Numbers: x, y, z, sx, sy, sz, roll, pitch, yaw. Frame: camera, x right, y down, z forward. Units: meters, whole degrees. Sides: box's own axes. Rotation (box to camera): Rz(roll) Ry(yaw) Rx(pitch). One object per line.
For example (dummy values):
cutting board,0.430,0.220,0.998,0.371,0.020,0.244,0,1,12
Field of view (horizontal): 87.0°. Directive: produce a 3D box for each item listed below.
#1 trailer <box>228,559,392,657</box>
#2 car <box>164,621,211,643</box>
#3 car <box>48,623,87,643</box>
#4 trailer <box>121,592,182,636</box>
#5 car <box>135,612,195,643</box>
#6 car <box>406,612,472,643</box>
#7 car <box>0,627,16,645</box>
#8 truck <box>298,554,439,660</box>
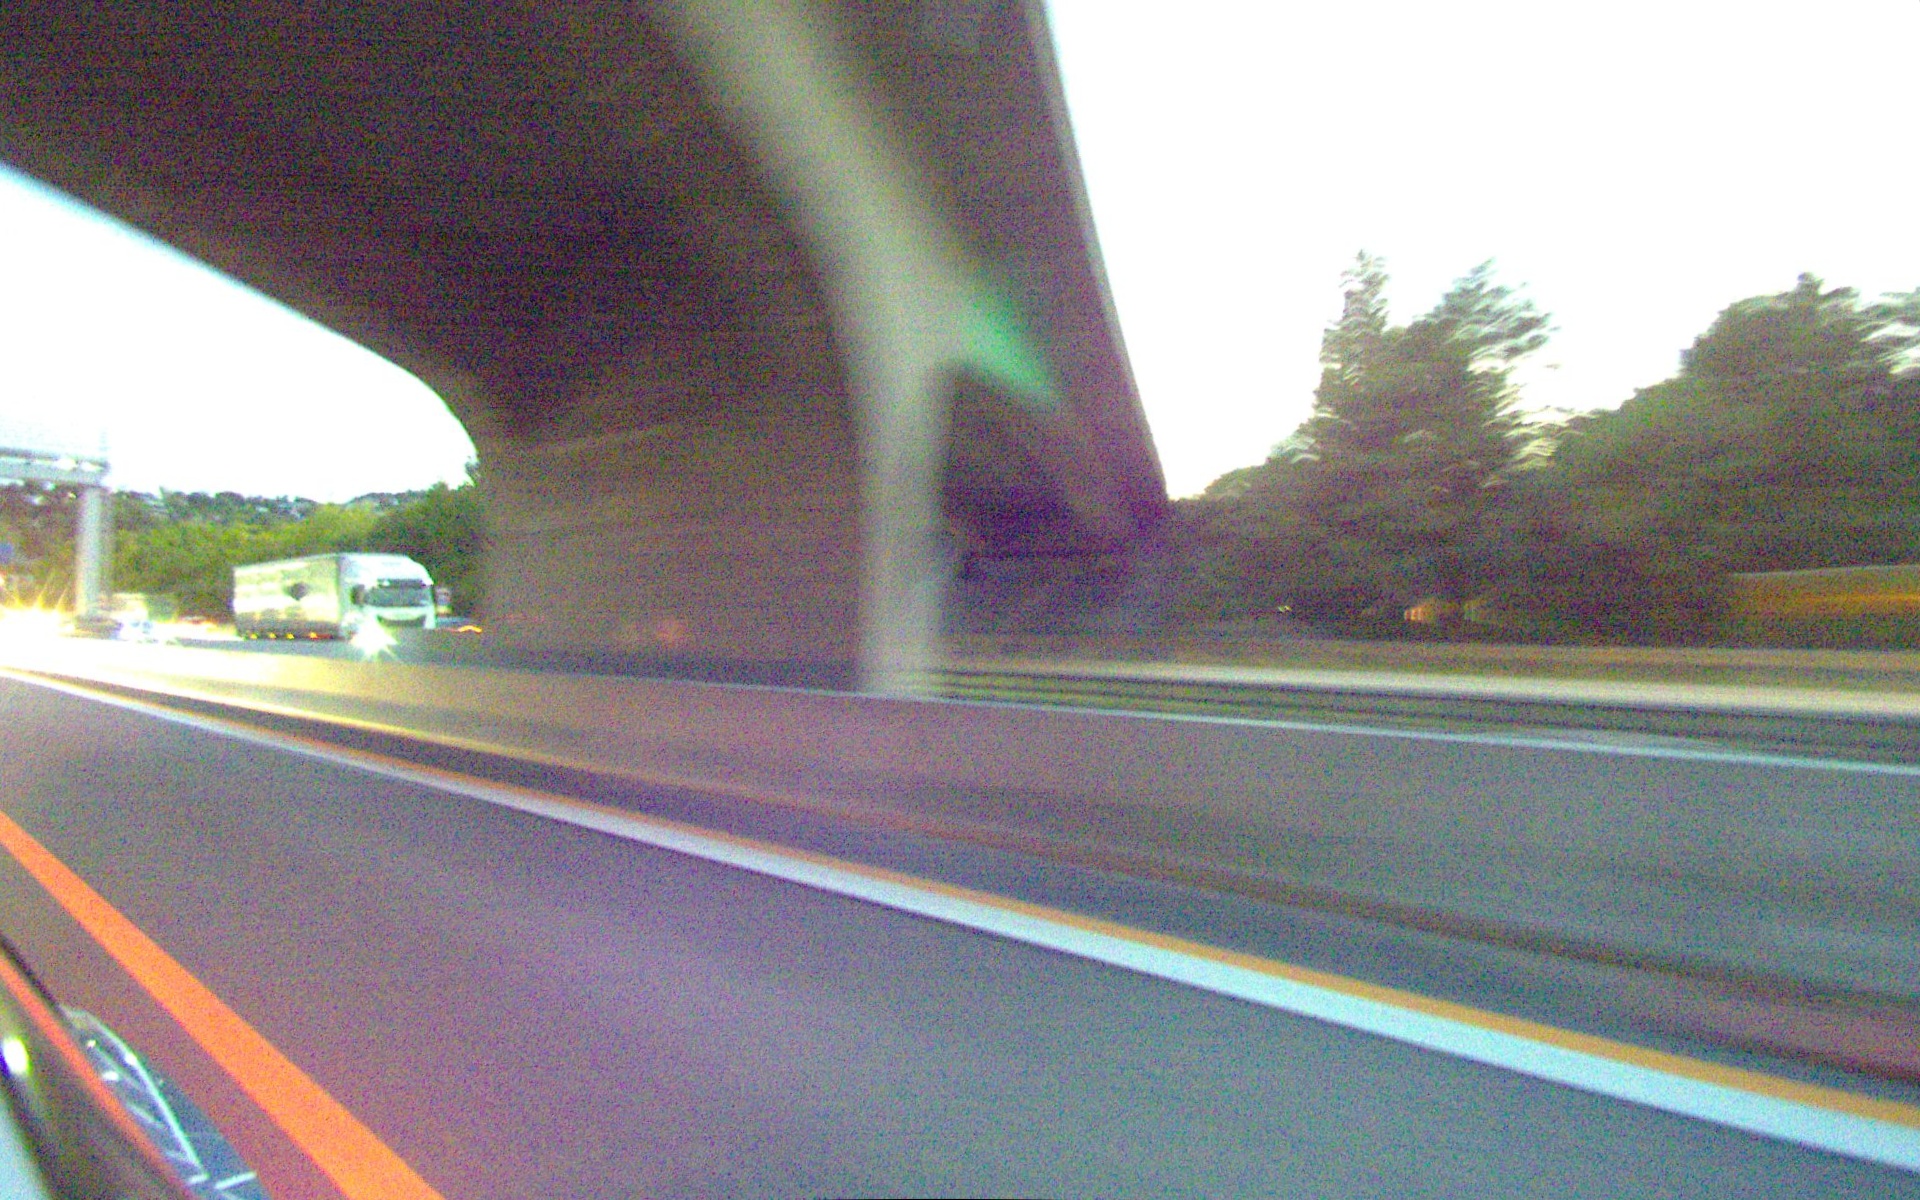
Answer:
trailer,-28.641,0.318,44.243,11.828,3.811,2.770,-1,1,41
car,-62.151,2.539,81.393,4.578,1.686,1.974,-1,1,39
car,-72.663,2.640,82.373,3.995,1.492,1.770,-1,1,39
trailer,-83.554,1.441,104.438,12.396,4.237,2.750,-1,1,41
car,-52.453,1.777,66.748,4.695,1.898,2.070,-1,1,39
car,-25.508,1.322,49.530,3.518,1.417,1.610,-1,1,40
car,-83.916,3.159,88.487,3.820,1.492,1.491,-1,1,39
truck,-23.146,0.263,39.492,6.298,3.803,2.774,-1,1,40
